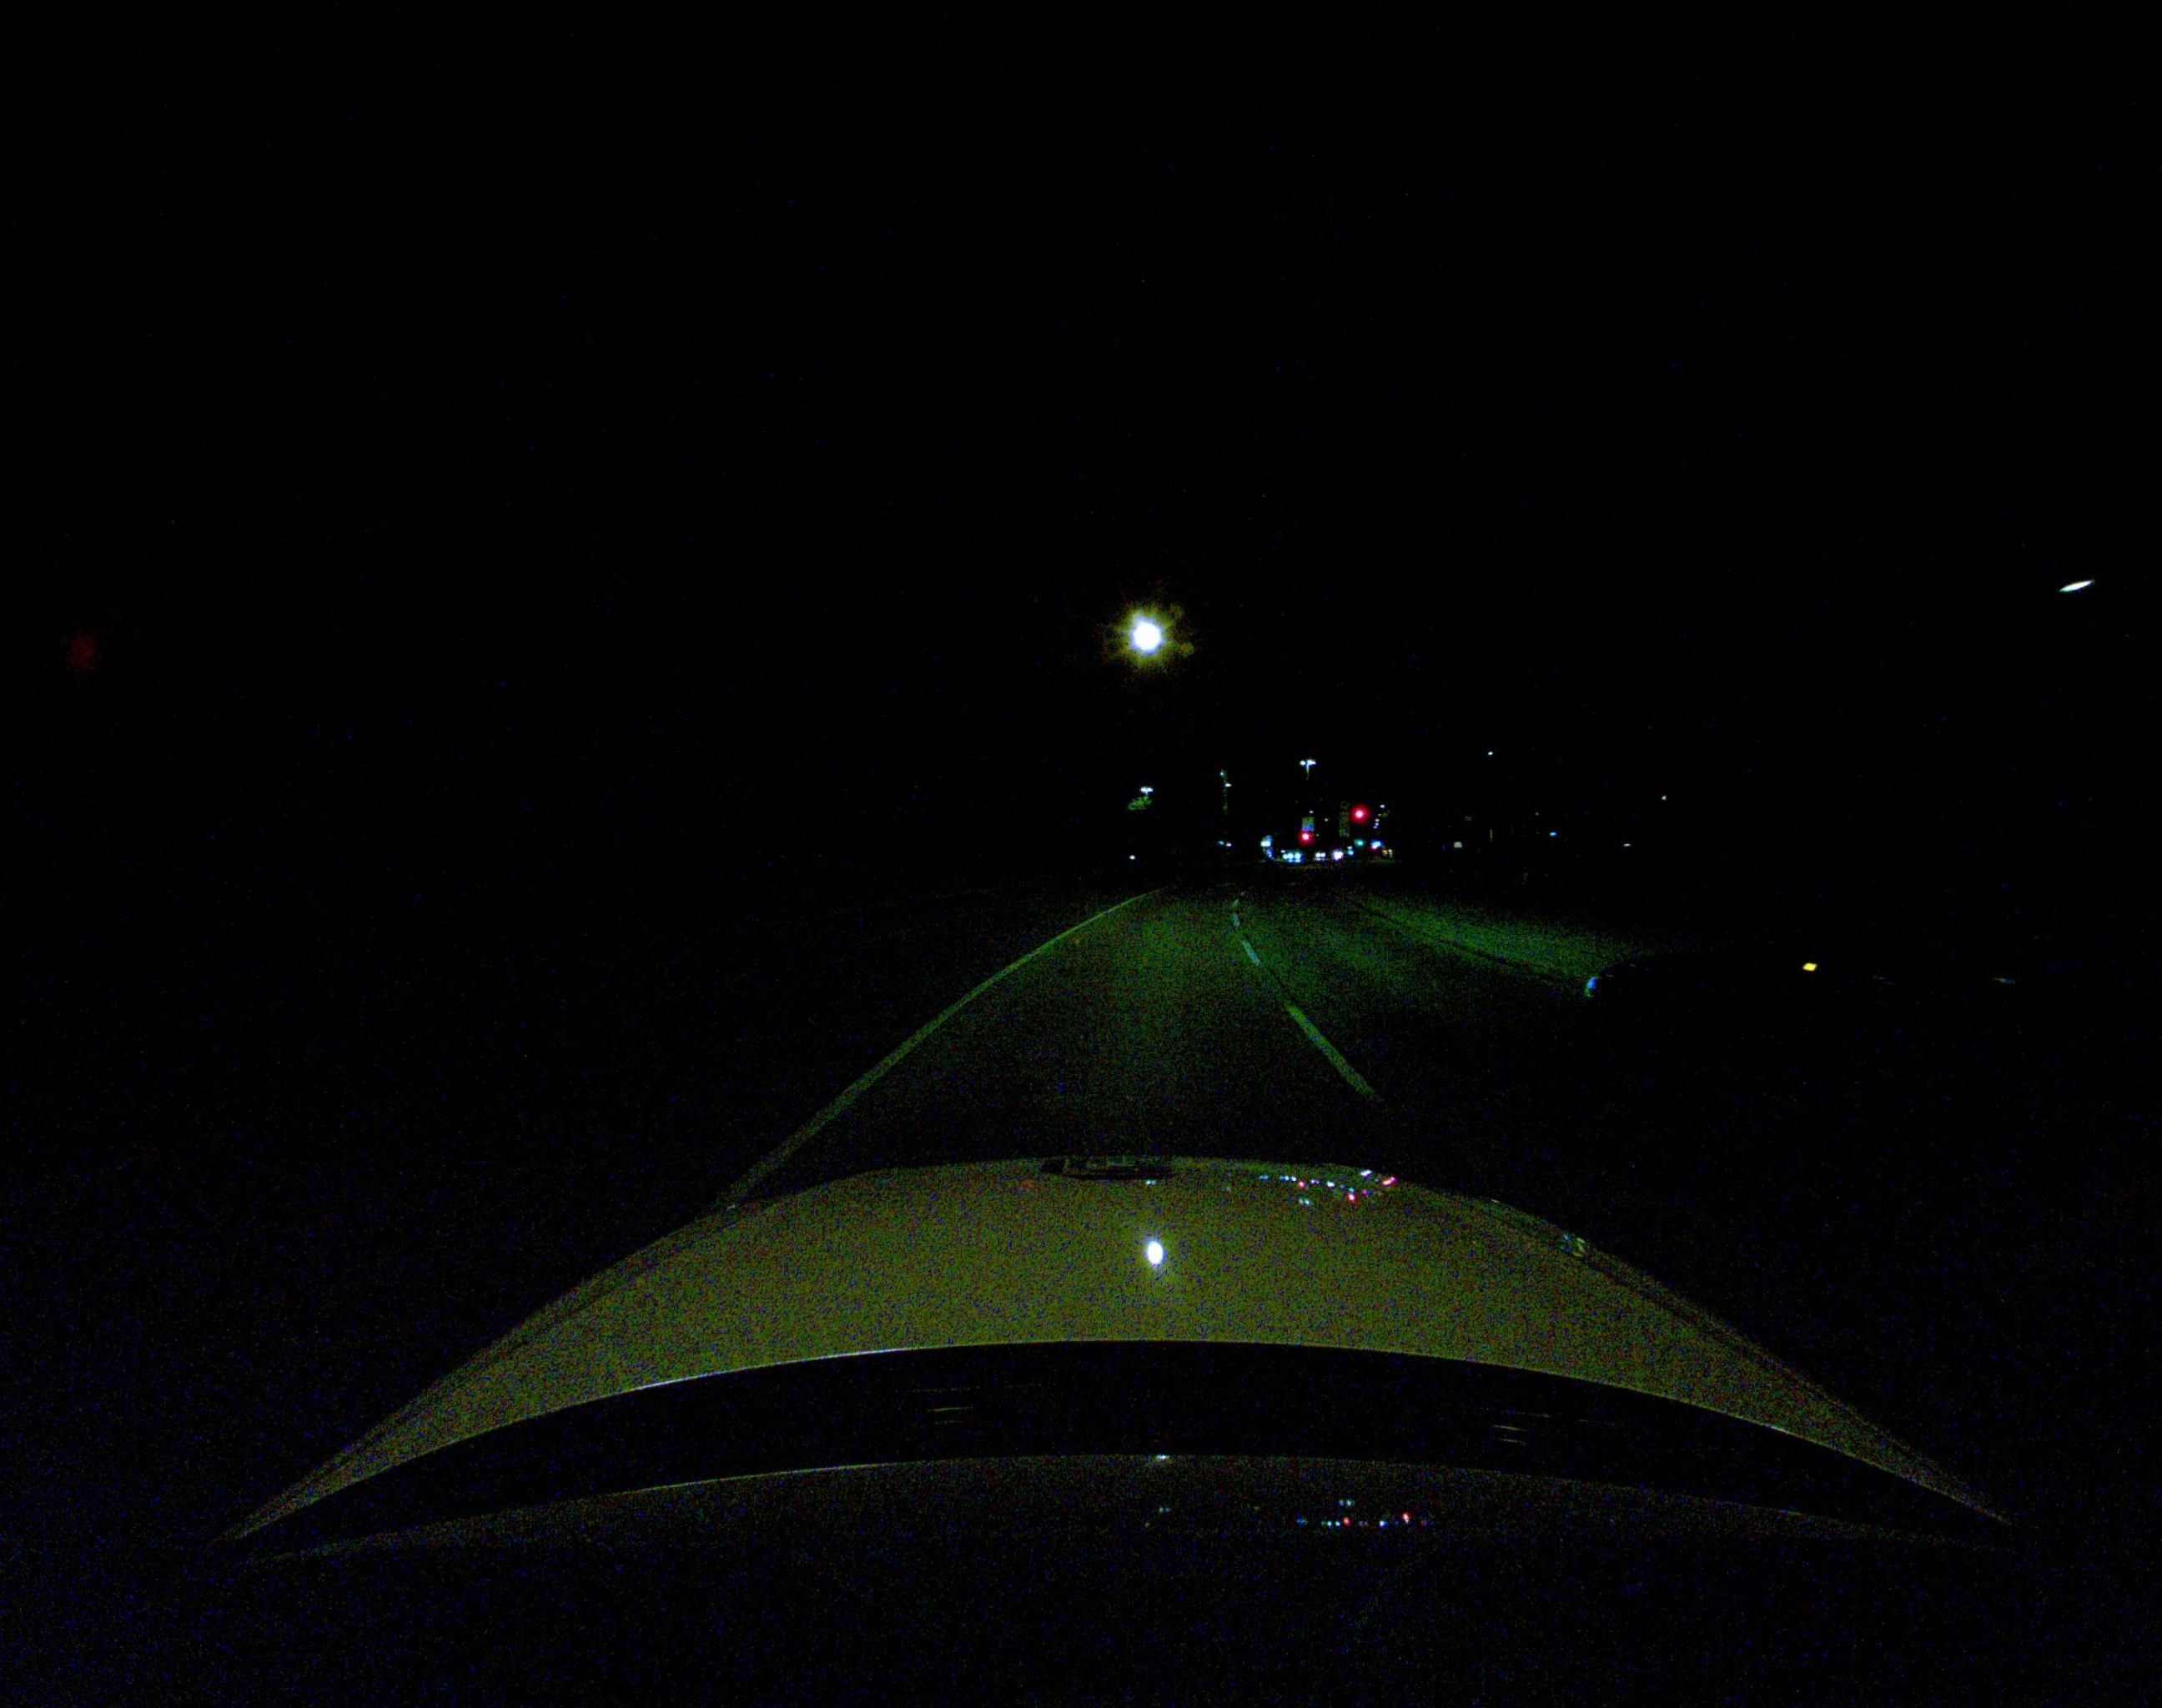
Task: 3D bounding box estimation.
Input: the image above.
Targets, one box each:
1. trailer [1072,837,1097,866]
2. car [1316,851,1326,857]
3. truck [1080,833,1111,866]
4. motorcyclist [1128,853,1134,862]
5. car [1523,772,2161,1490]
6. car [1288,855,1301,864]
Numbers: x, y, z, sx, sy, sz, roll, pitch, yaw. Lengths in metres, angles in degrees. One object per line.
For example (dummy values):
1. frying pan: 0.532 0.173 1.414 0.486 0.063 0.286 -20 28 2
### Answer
1. trailer: 0.413 -0.299 108.639 2.610 3.791 6.500 0 -1 -6
2. car: 55.895 0.011 189.556 1.742 1.322 3.566 -1 -1 22
3. truck: 1.664 -0.469 98.177 2.932 3.796 9.543 0 -1 -4
4. motorcyclist: 6.798 0.522 110.752 0.649 1.261 0.575 0 -1 -21
5. car: 3.288 0.629 2.538 1.663 1.610 4.231 0 0 2
6. car: 38.692 0.964 147.511 1.601 1.515 4.021 -1 -1 22
